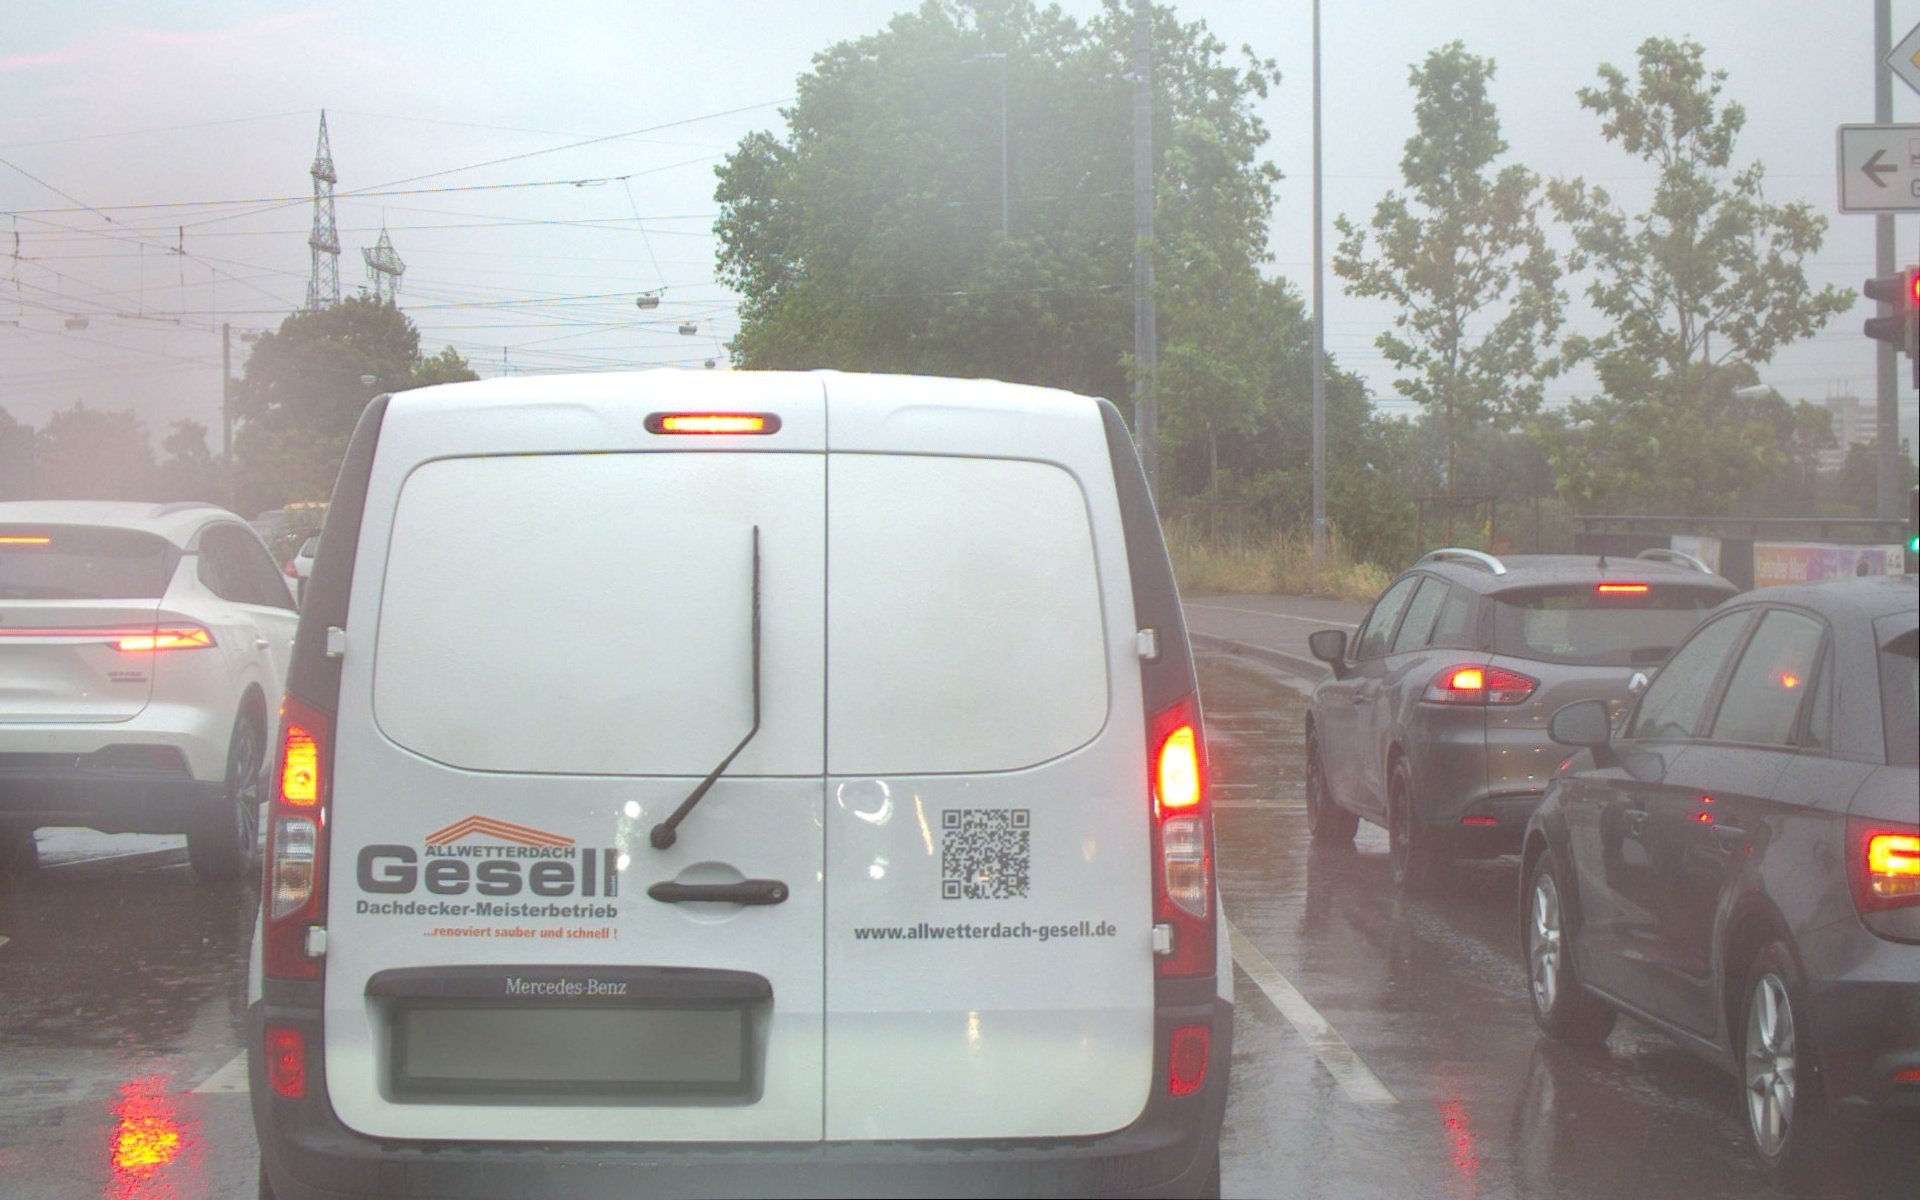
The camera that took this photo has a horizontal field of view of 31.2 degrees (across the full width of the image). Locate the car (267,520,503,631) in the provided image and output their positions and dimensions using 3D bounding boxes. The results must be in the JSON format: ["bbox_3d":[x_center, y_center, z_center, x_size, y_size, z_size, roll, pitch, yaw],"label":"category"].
[{"bbox_3d":[-8.127,-0.349,48.916,1.616,1.498,3.711,1,1,22],"label":"car"}]

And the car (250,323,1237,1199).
[{"bbox_3d":[-0.367,0.428,7.485,1.566,1.782,4.000,0,1,-1],"label":"car"}]

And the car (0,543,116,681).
[{"bbox_3d":[-10.843,0.106,35.447,3.854,1.417,1.510,0,1,-36],"label":"car"}]

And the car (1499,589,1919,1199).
[{"bbox_3d":[2.557,0.668,8.925,1.629,1.340,3.624,1,1,-2],"label":"car"}]

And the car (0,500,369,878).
[{"bbox_3d":[-3.959,0.304,16.135,1.728,1.530,4.298,1,1,-2],"label":"car"}]

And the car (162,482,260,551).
[{"bbox_3d":[-22.660,-2.503,104.122,1.993,2.007,4.000,1,1,1],"label":"car"}]

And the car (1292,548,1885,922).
[{"bbox_3d":[2.673,0.508,15.517,1.859,1.424,3.808,1,1,-2],"label":"car"}]
